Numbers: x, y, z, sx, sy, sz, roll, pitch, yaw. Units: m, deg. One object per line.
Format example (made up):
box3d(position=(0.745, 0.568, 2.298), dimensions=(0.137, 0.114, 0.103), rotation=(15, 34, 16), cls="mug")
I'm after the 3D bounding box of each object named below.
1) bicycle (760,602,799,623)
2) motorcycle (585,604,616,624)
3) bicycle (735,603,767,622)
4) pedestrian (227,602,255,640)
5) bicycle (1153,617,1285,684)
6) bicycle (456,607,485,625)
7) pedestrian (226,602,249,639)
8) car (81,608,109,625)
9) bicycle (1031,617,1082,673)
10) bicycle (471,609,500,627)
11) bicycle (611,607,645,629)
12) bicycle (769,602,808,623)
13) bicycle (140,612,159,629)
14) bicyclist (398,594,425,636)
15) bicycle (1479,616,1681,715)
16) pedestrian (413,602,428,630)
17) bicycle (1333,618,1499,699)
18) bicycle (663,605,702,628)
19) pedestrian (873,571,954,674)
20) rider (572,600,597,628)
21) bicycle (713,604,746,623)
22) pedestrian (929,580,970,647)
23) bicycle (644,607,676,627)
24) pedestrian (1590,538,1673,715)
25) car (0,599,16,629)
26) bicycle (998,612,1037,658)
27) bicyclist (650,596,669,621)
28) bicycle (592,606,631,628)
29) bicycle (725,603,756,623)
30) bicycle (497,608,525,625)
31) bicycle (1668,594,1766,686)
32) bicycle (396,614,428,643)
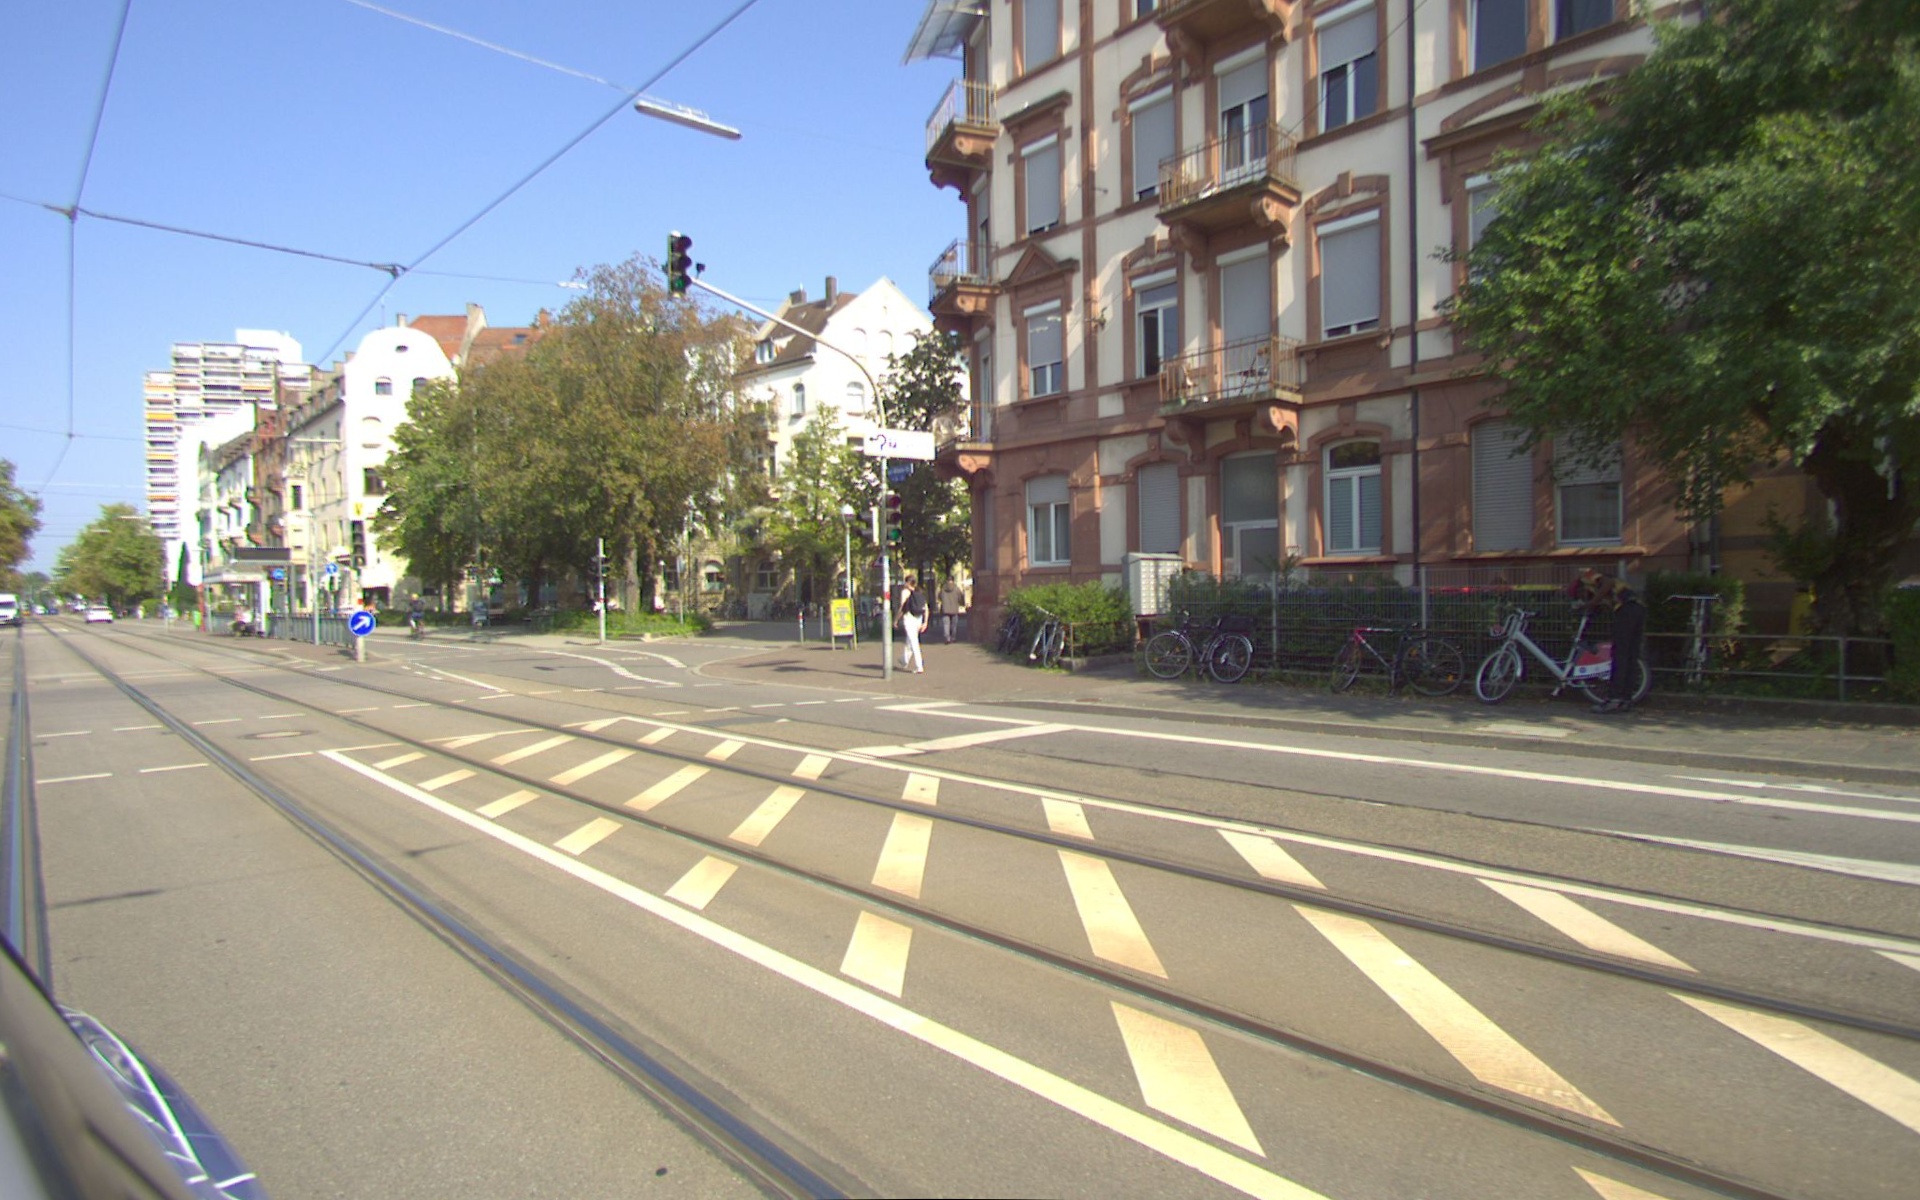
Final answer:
box3d(position=(-10.272, 0.713, 57.624), dimensions=(2.058, 1.112, 0.658), rotation=(-2, 0, -35), cls="bicycle")
box3d(position=(-23.375, 0.920, 65.914), dimensions=(0.675, 1.186, 1.864), rotation=(-1, 1, 31), cls="motorcycle")
box3d(position=(-12.597, 0.752, 60.908), dimensions=(2.334, 1.112, 0.647), rotation=(-1, 0, 45), cls="bicycle")
box3d(position=(-28.287, 0.828, 39.801), dimensions=(0.783, 1.467, 0.719), rotation=(-1, 0, -43), cls="pedestrian")
box3d(position=(3.620, 0.684, 14.271), dimensions=(0.520, 0.866, 1.831), rotation=(-2, 0, -40), cls="bicycle")
box3d(position=(-32.469, 1.047, 67.156), dimensions=(0.688, 1.087, 2.339), rotation=(-1, 1, 4), cls="bicycle")
box3d(position=(-29.044, 0.812, 40.676), dimensions=(0.669, 1.467, 0.719), rotation=(-1, 0, -42), cls="pedestrian")
box3d(position=(-78.978, 1.489, 92.395), dimensions=(1.708, 1.445, 3.924), rotation=(-2, 0, -44), cls="car")
box3d(position=(1.652, 0.757, 17.521), dimensions=(0.520, 0.866, 1.830), rotation=(-2, 0, -5), cls="bicycle")
box3d(position=(-31.306, 1.167, 66.814), dimensions=(0.688, 1.087, 2.339), rotation=(-1, 1, 4), cls="bicycle")
box3d(position=(-21.295, 1.138, 65.006), dimensions=(0.860, 1.381, 2.290), rotation=(-1, 0, 18), cls="bicycle")
box3d(position=(-9.611, 0.694, 56.674), dimensions=(2.058, 1.112, 0.658), rotation=(-2, 0, -35), cls="bicycle")
box3d(position=(-92.236, 2.288, 115.137), dimensions=(3.554, 1.872, 1.002), rotation=(-1, 2, 41), cls="bicycle")
box3d(position=(-21.680, 0.580, 39.997), dimensions=(0.665, 1.626, 1.046), rotation=(-2, 0, -41), cls="bicyclist")
box3d(position=(6.441, 0.652, 10.595), dimensions=(0.520, 0.934, 1.705), rotation=(-2, 0, -40), cls="bicycle")
box3d(position=(-36.757, 1.075, 68.953), dimensions=(0.673, 1.882, 0.725), rotation=(-1, 0, 43), cls="pedestrian")
box3d(position=(5.305, 0.657, 11.855), dimensions=(0.520, 0.866, 1.705), rotation=(-2, 0, -40), cls="bicycle")
box3d(position=(-17.270, 1.021, 63.058), dimensions=(0.865, 1.381, 2.276), rotation=(-1, 0, 34), cls="bicycle")
box3d(position=(-0.845, 0.396, 18.318), dimensions=(0.893, 1.779, 1.187), rotation=(-2, 0, -40), cls="pedestrian")
box3d(position=(-21.655, 0.805, 58.354), dimensions=(0.982, 1.523, 1.116), rotation=(-3, 1, -39), cls="rider")
box3d(position=(-13.616, 0.805, 59.791), dimensions=(2.334, 1.112, 0.763), rotation=(-1, 0, 45), cls="bicycle")
box3d(position=(-0.269, 0.317, 24.784), dimensions=(0.828, 1.582, 0.947), rotation=(-2, 0, -10), cls="pedestrian")
box3d(position=(-16.938, 0.948, 57.092), dimensions=(2.069, 1.112, 0.647), rotation=(-1, 0, 38), cls="bicycle")
box3d(position=(6.686, 0.254, 10.078), dimensions=(0.632, 1.691, 0.631), rotation=(-1, 0, 35), cls="pedestrian")
box3d(position=(-76.387, 1.118, 80.129), dimensions=(2.056, 2.294, 4.835), rotation=(-2, 0, -39), cls="car")
box3d(position=(1.170, 0.698, 20.936), dimensions=(0.520, 0.866, 1.830), rotation=(-2, 0, -5), cls="bicycle")
box3d(position=(-16.959, 0.483, 57.101), dimensions=(0.757, 1.370, 0.647), rotation=(-1, 0, 38), cls="bicyclist")
box3d(position=(-22.545, 1.085, 65.493), dimensions=(0.866, 1.381, 2.276), rotation=(-1, 0, 36), cls="bicycle")
box3d(position=(-13.101, 0.781, 60.340), dimensions=(2.334, 1.112, 0.647), rotation=(-1, 0, 45), cls="bicycle")
box3d(position=(-29.758, 1.095, 67.086), dimensions=(0.688, 1.087, 2.339), rotation=(-1, 0, 4), cls="bicycle")
box3d(position=(8.064, 0.396, 10.756), dimensions=(1.677, 0.866, 0.528), rotation=(-2, 0, -43), cls="bicycle")
box3d(position=(-21.694, 1.114, 40.050), dimensions=(0.676, 1.112, 2.072), rotation=(-2, 0, -41), cls="bicycle")
